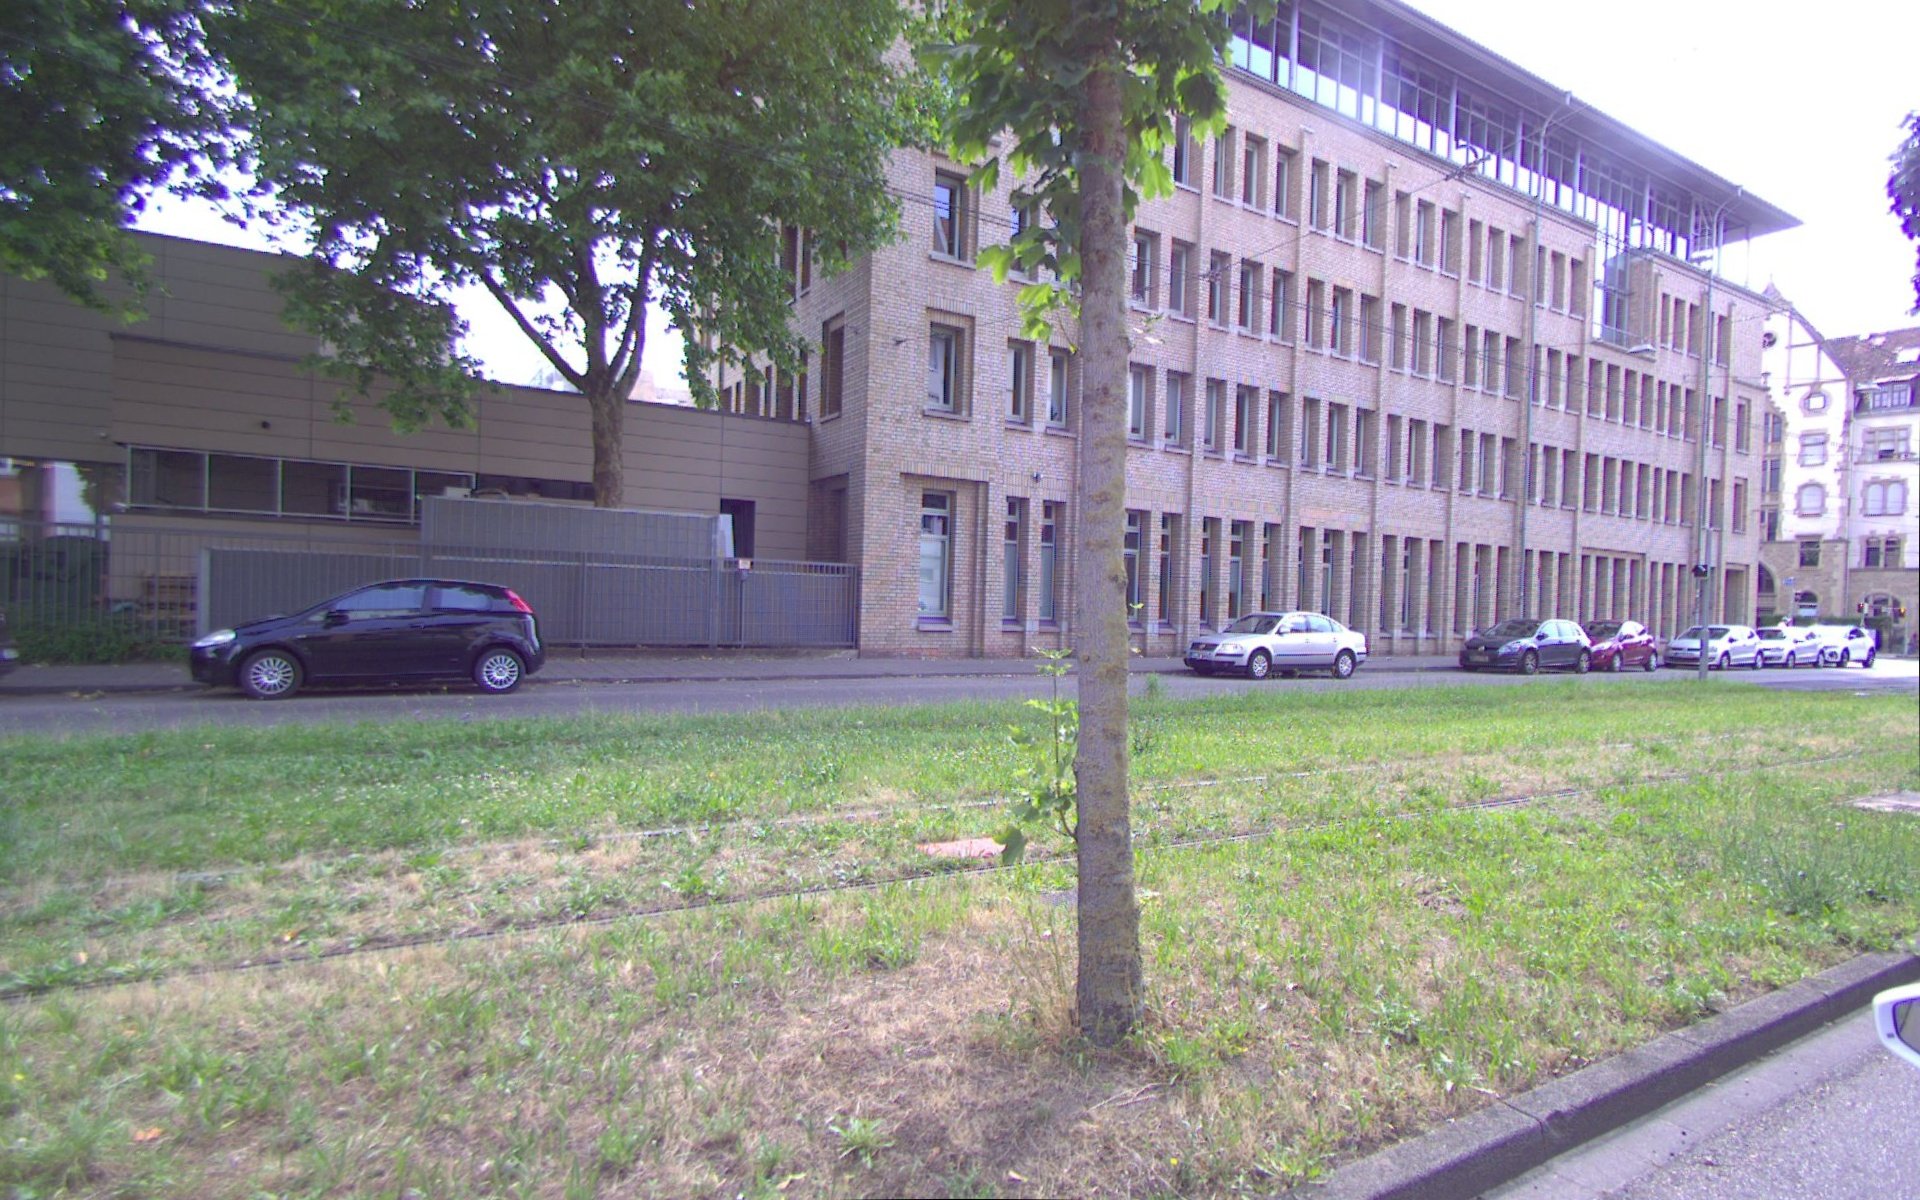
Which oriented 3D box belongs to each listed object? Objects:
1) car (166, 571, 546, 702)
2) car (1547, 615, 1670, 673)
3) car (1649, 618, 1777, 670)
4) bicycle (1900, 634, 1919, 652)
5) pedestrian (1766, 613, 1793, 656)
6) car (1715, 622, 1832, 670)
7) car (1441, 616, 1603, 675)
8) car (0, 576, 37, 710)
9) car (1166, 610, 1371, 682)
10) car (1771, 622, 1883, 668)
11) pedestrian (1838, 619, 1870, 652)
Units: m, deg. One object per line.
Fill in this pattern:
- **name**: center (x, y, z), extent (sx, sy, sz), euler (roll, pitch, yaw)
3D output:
- **car**: center (-7.614, 0.453, 13.072), extent (3.950, 1.472, 1.795), euler (2, 0, -28)
- **car**: center (19.024, 1.276, 29.456), extent (3.507, 1.551, 1.575), euler (2, 0, -30)
- **car**: center (24.738, 1.445, 32.983), extent (4.160, 1.551, 1.842), euler (2, 0, -30)
- **bicycle**: center (61.939, 2.781, 64.751), extent (0.772, 1.095, 1.899), euler (2, -1, -41)
- **pedestrian**: center (35.510, 1.498, 43.547), extent (0.749, 1.819, 0.957), euler (2, 1, 34)
- **car**: center (29.032, 1.633, 35.826), extent (3.967, 1.551, 1.924), euler (2, 0, -30)
- **car**: center (15.201, 1.214, 27.146), extent (4.189, 1.415, 1.924), euler (2, 0, -30)
- **car**: center (-12.257, 0.404, 10.274), extent (3.857, 1.445, 1.546), euler (2, 0, -31)
- **car**: center (6.793, 0.992, 21.995), extent (4.431, 1.415, 1.707), euler (2, 0, -30)
- **car**: center (32.855, 1.698, 38.065), extent (4.207, 1.555, 1.924), euler (2, 0, -30)
- **pedestrian**: center (48.677, 1.916, 54.721), extent (1.003, 1.745, 0.776), euler (2, 0, 15)
